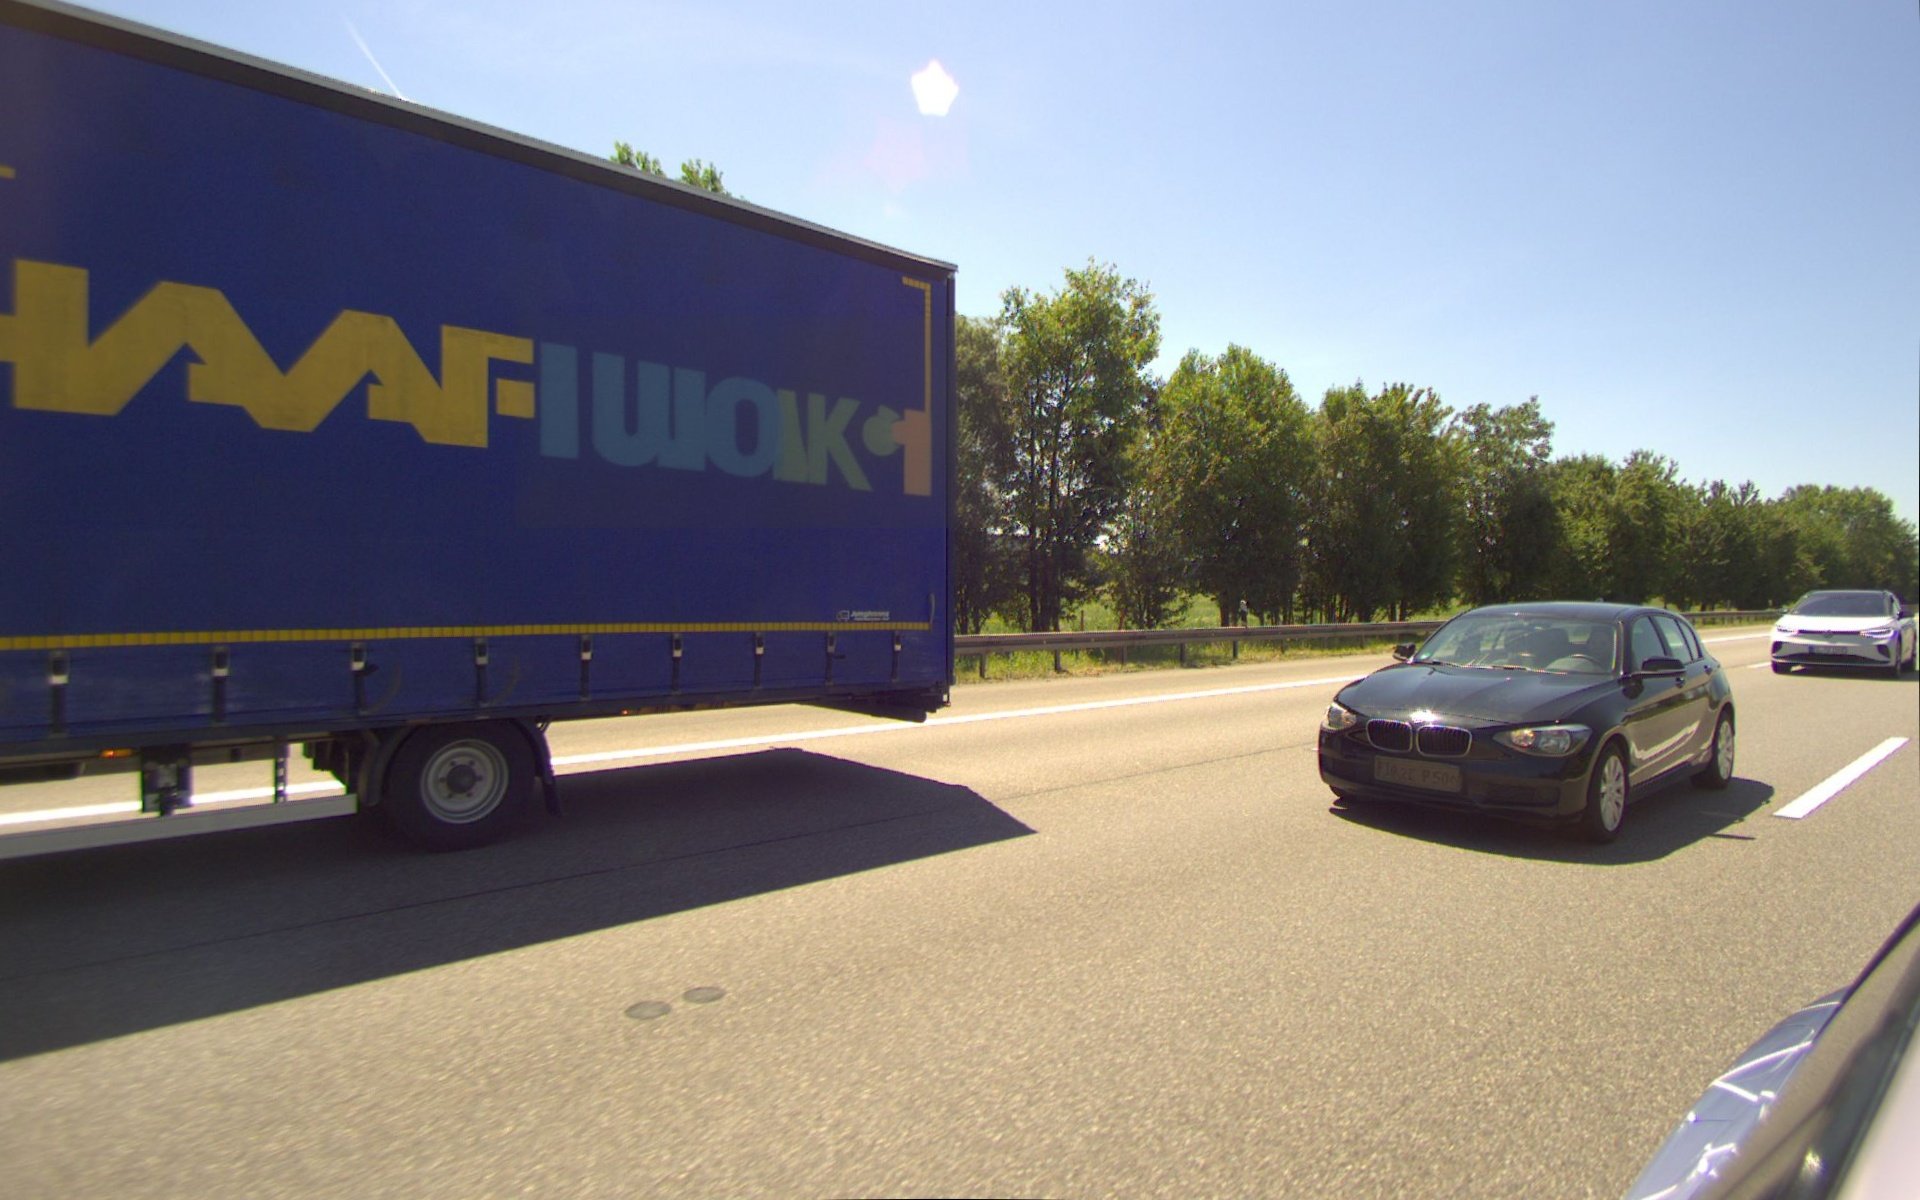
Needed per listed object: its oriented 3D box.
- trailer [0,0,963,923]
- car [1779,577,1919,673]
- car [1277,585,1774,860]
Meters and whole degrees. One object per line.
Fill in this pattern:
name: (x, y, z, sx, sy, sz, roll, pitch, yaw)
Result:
trailer: (-4.903, -0.815, 5.275, 10.618, 4.257, 2.795, 0, 1, -41)
car: (17.610, 0.416, 19.738, 3.930, 1.664, 1.886, 0, 2, -41)
car: (4.403, 0.632, 7.556, 4.419, 1.435, 1.840, 0, 2, -41)
